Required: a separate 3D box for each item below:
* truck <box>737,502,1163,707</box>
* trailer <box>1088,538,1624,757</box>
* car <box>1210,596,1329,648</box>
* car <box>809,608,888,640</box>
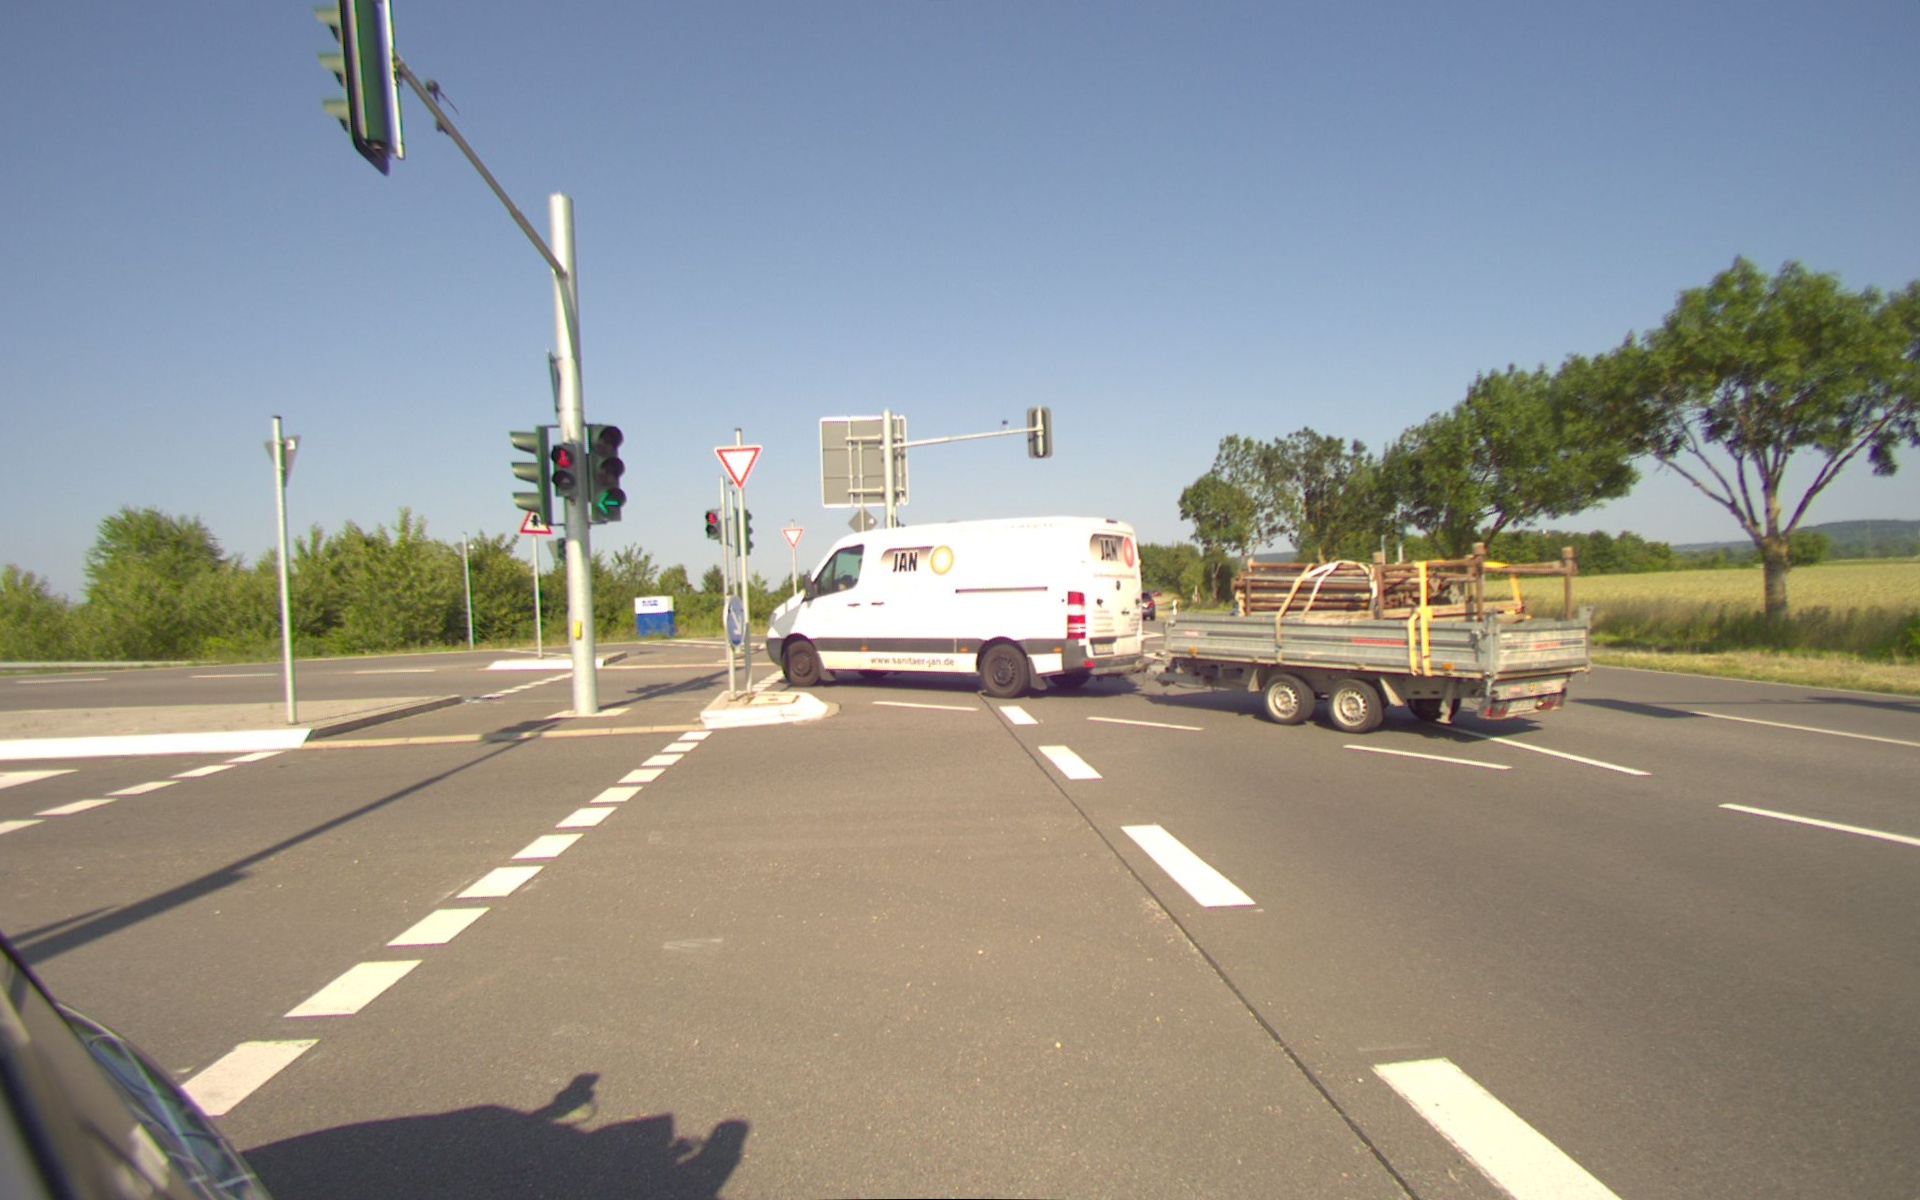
[{"bbox_3d":[-0.356,0.066,14.665,6.186,2.423,2.046,-1,0,36],"label":"truck"},{"bbox_3d":[3.787,0.371,10.688,1.948,1.751,5.024,-1,0,-35],"label":"trailer"},{"bbox_3d":[8.801,0.596,29.221,1.609,1.387,4.429,0,0,-7],"label":"car"},{"bbox_3d":[-4.206,0.907,38.854,1.724,1.120,3.981,-1,0,14],"label":"car"}]
